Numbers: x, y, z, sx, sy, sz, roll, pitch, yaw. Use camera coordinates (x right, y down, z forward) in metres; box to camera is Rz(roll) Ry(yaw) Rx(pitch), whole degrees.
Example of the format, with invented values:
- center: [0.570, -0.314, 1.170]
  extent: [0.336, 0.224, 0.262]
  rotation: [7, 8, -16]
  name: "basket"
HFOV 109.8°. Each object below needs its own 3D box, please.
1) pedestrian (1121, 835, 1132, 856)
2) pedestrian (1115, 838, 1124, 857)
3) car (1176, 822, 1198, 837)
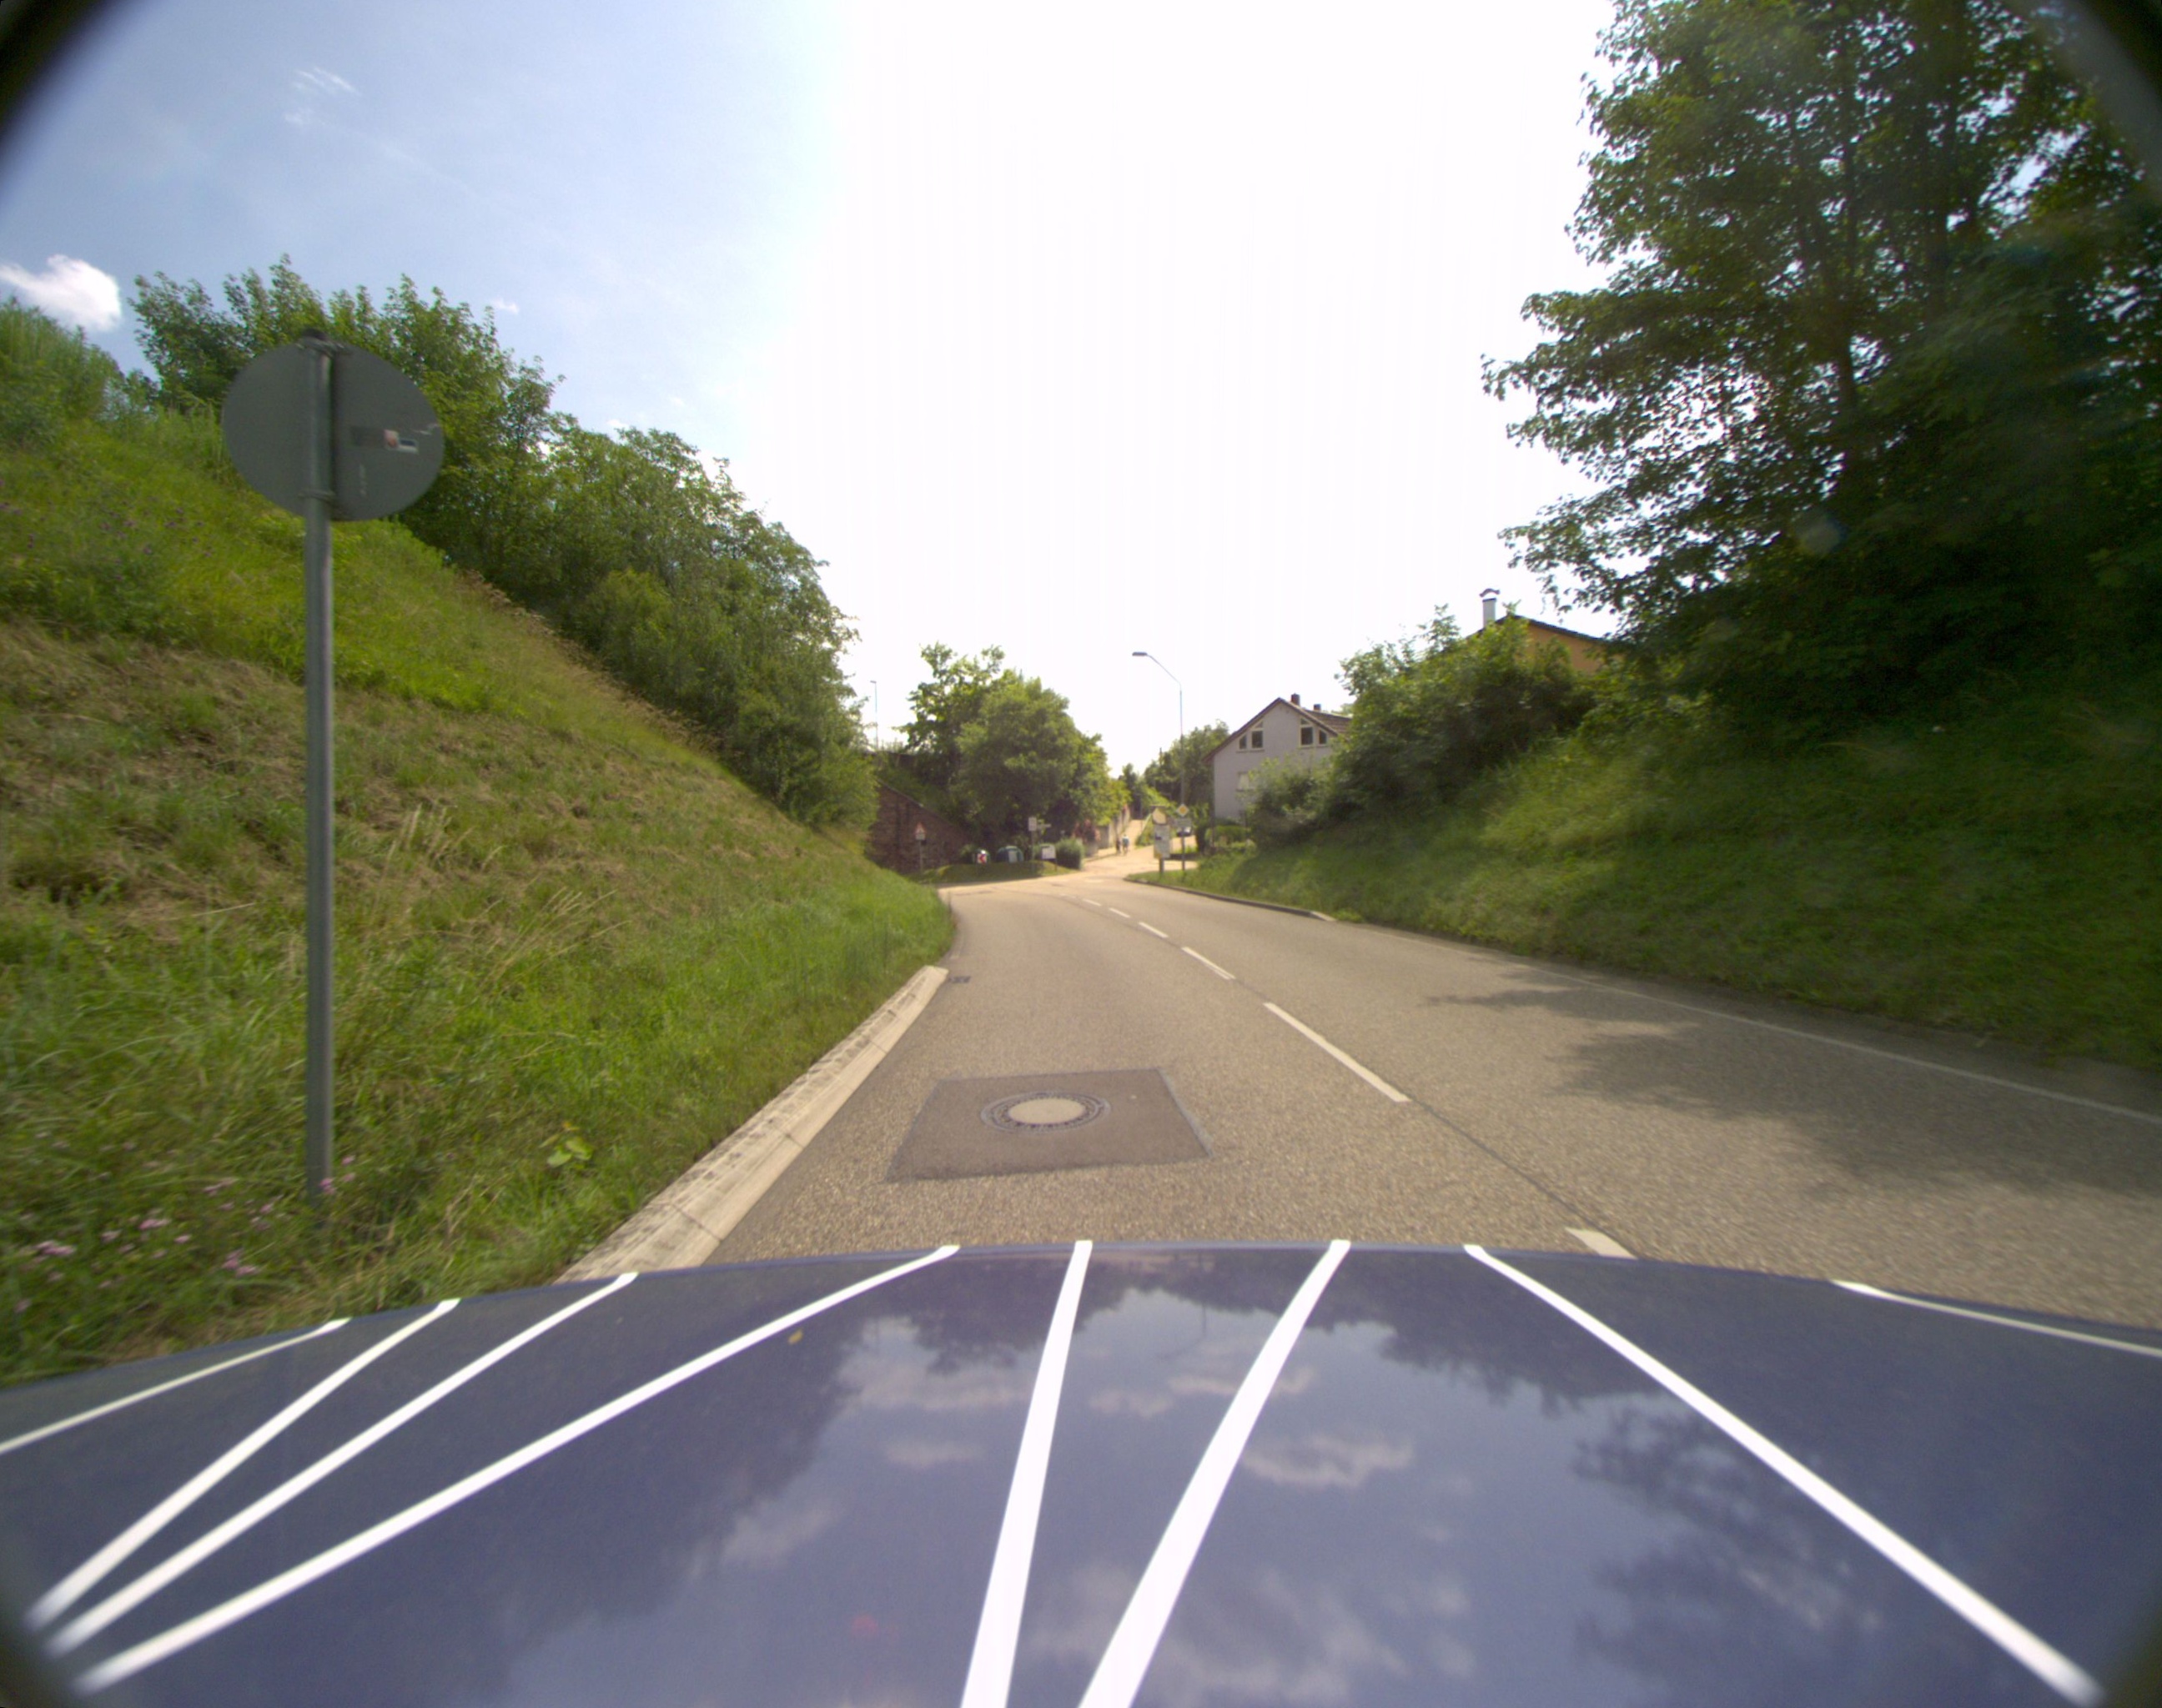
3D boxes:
- center: [3.848, -0.705, 63.876]
  extent: [0.686, 1.703, 0.790]
  rotation: [-5, 3, 10]
  name: "pedestrian"
- center: [3.232, -0.572, 63.760]
  extent: [0.573, 1.546, 0.599]
  rotation: [-5, 3, 10]
  name: "pedestrian"
- center: [12.817, -2.917, 92.212]
  extent: [1.855, 1.633, 4.391]
  rotation: [-5, 1, -1]
  name: "car"
